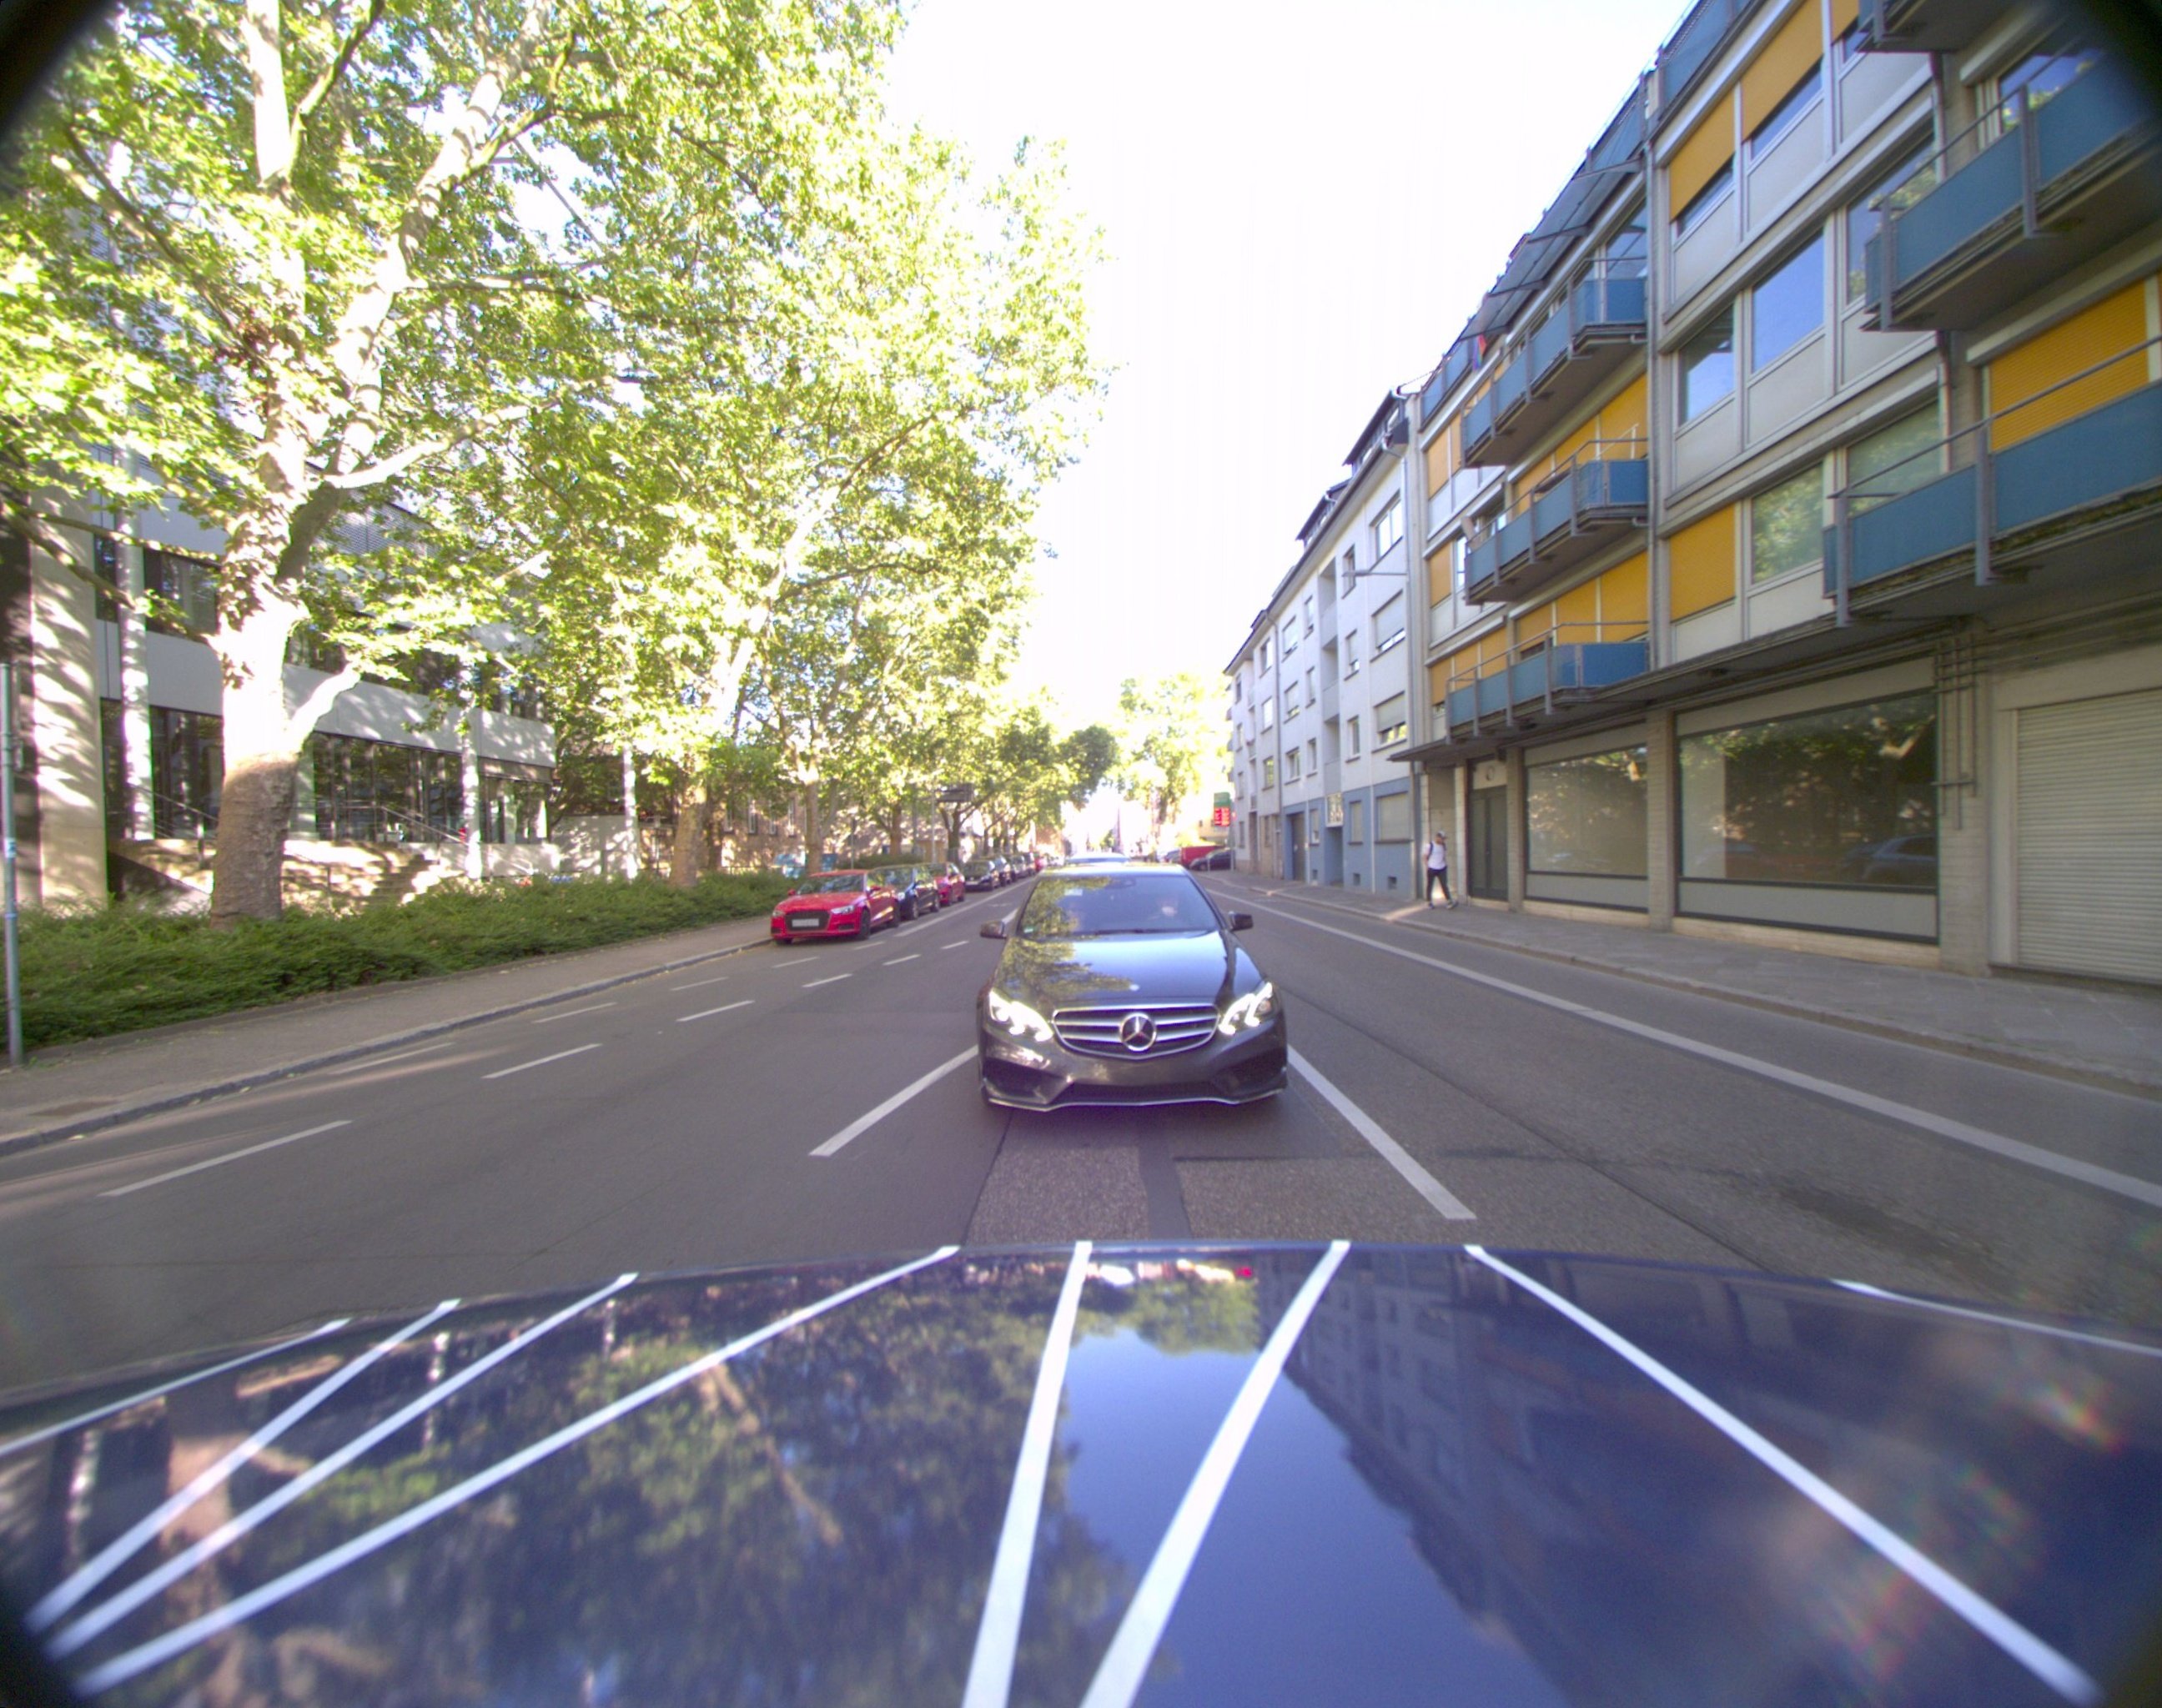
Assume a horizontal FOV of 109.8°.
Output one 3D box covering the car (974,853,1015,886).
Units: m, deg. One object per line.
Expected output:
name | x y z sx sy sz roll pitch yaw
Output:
car | -4.593 0.805 40.679 1.635 1.578 3.844 -3 0 1

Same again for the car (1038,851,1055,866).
car | -3.988 0.508 88.773 1.635 1.713 3.672 -3 0 1

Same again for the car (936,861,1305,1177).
car | 0.227 0.862 5.927 1.804 1.455 4.125 -3 0 1

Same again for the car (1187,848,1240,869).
car | 9.959 0.311 57.251 3.670 1.403 1.636 -3 1 0

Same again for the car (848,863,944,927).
car | -5.030 1.058 21.095 1.635 1.455 3.740 -3 0 1

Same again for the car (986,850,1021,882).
car | -4.686 0.672 46.555 1.635 1.795 3.844 -3 0 1

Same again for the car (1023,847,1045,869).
car | -4.259 0.364 68.813 1.635 1.878 3.672 -3 0 1

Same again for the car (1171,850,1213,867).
car | 9.511 0.356 65.163 3.325 1.242 1.295 -3 1 0

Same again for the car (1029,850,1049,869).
car | -4.007 0.492 73.438 1.635 1.713 3.672 -3 0 1

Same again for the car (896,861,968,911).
car | -5.022 1.037 26.102 1.635 1.455 3.740 -3 0 1

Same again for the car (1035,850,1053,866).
car | -4.088 0.422 84.609 1.635 1.713 3.672 -3 0 1

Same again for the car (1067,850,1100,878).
car | 0.156 0.562 45.675 1.853 1.455 4.098 -3 0 1

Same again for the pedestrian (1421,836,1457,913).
pedestrian | 8.096 0.460 17.184 0.569 1.716 0.343 -3 1 0

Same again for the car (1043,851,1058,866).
car | -3.777 0.549 94.594 1.635 1.713 3.672 -3 0 1

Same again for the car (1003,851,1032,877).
car | -4.412 0.677 53.281 1.635 1.644 3.844 -3 0 1

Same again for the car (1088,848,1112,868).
car | 1.480 0.266 60.228 1.829 1.455 4.098 -3 0 1

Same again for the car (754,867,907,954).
car | -5.166 1.093 16.293 1.804 1.455 4.125 -3 0 1

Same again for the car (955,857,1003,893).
car | -4.726 0.947 35.675 1.635 1.455 3.740 -3 0 1

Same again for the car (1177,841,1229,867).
car | 9.984 -0.021 62.551 3.928 1.912 1.636 -3 1 0

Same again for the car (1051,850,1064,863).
car | -3.211 0.370 105.331 1.635 1.713 3.672 -3 0 1

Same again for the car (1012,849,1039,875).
car | -4.213 0.598 57.972 1.635 1.799 3.672 -3 0 1

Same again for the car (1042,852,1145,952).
car | 0.236 0.815 15.146 1.680 1.622 4.125 -3 0 1
